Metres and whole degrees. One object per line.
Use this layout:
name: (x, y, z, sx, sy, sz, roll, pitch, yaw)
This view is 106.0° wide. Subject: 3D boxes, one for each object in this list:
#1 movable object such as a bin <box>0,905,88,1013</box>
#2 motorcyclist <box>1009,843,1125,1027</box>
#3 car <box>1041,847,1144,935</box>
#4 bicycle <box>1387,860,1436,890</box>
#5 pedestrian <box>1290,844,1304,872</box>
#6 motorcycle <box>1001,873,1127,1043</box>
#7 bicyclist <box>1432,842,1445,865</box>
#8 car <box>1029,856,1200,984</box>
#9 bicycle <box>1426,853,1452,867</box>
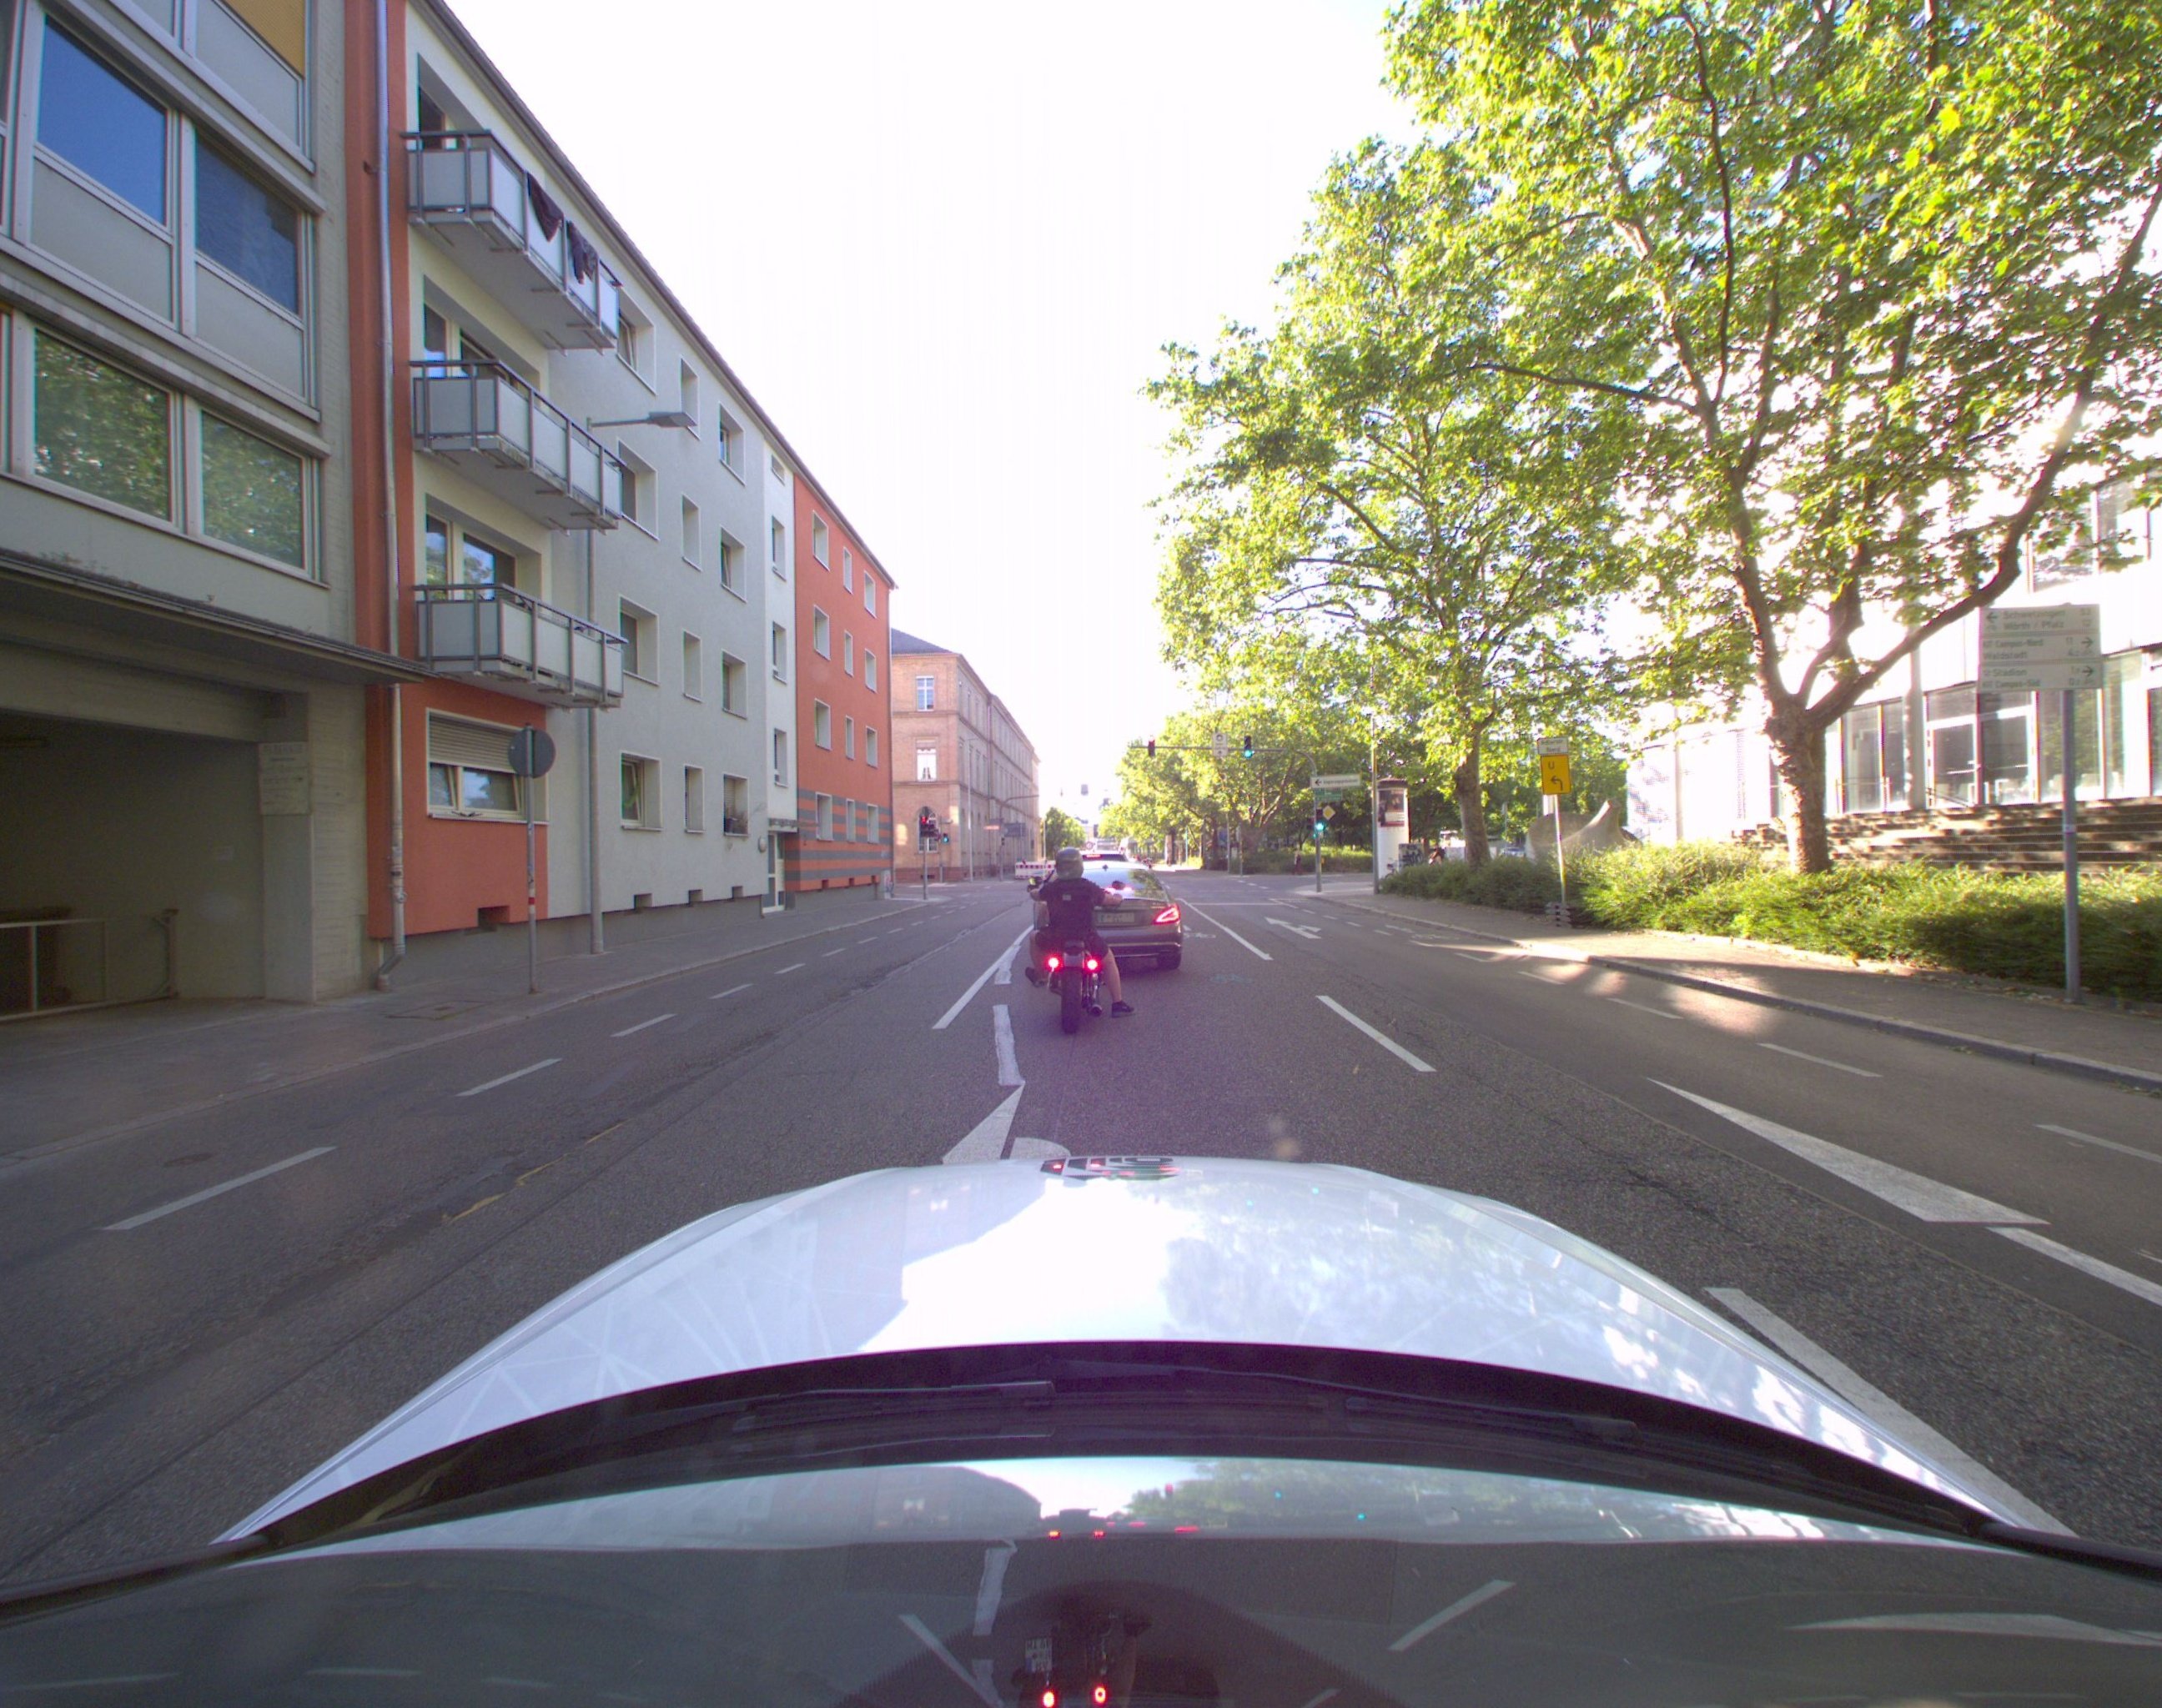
movable object such as a bin: (-11.293, 1.098, 8.651, 0.639, 1.065, 0.675, -1, 0, 1)
motorcyclist: (-0.101, 0.700, 7.677, 0.977, 1.578, 1.249, -1, 0, 1)
car: (0.285, 0.728, 17.676, 1.986, 1.665, 4.001, 0, -1, 2)
bicycle: (11.075, 0.711, 27.327, 1.475, 0.980, 0.300, 0, -1, 7)
pedestrian: (13.626, 0.243, 51.358, 0.670, 1.772, 0.621, -1, -1, 36)
motorcycle: (-0.096, 0.860, 7.695, 0.977, 1.275, 2.408, -1, 0, 2)
bicyclist: (21.225, -0.051, 48.357, 0.520, 1.347, 0.544, 0, -1, 5)
car: (0.259, 0.775, 11.749, 1.867, 1.444, 4.421, -1, 0, -6)
bicycle: (21.246, 0.374, 48.353, 1.362, 0.800, 0.513, 0, -1, 4)
